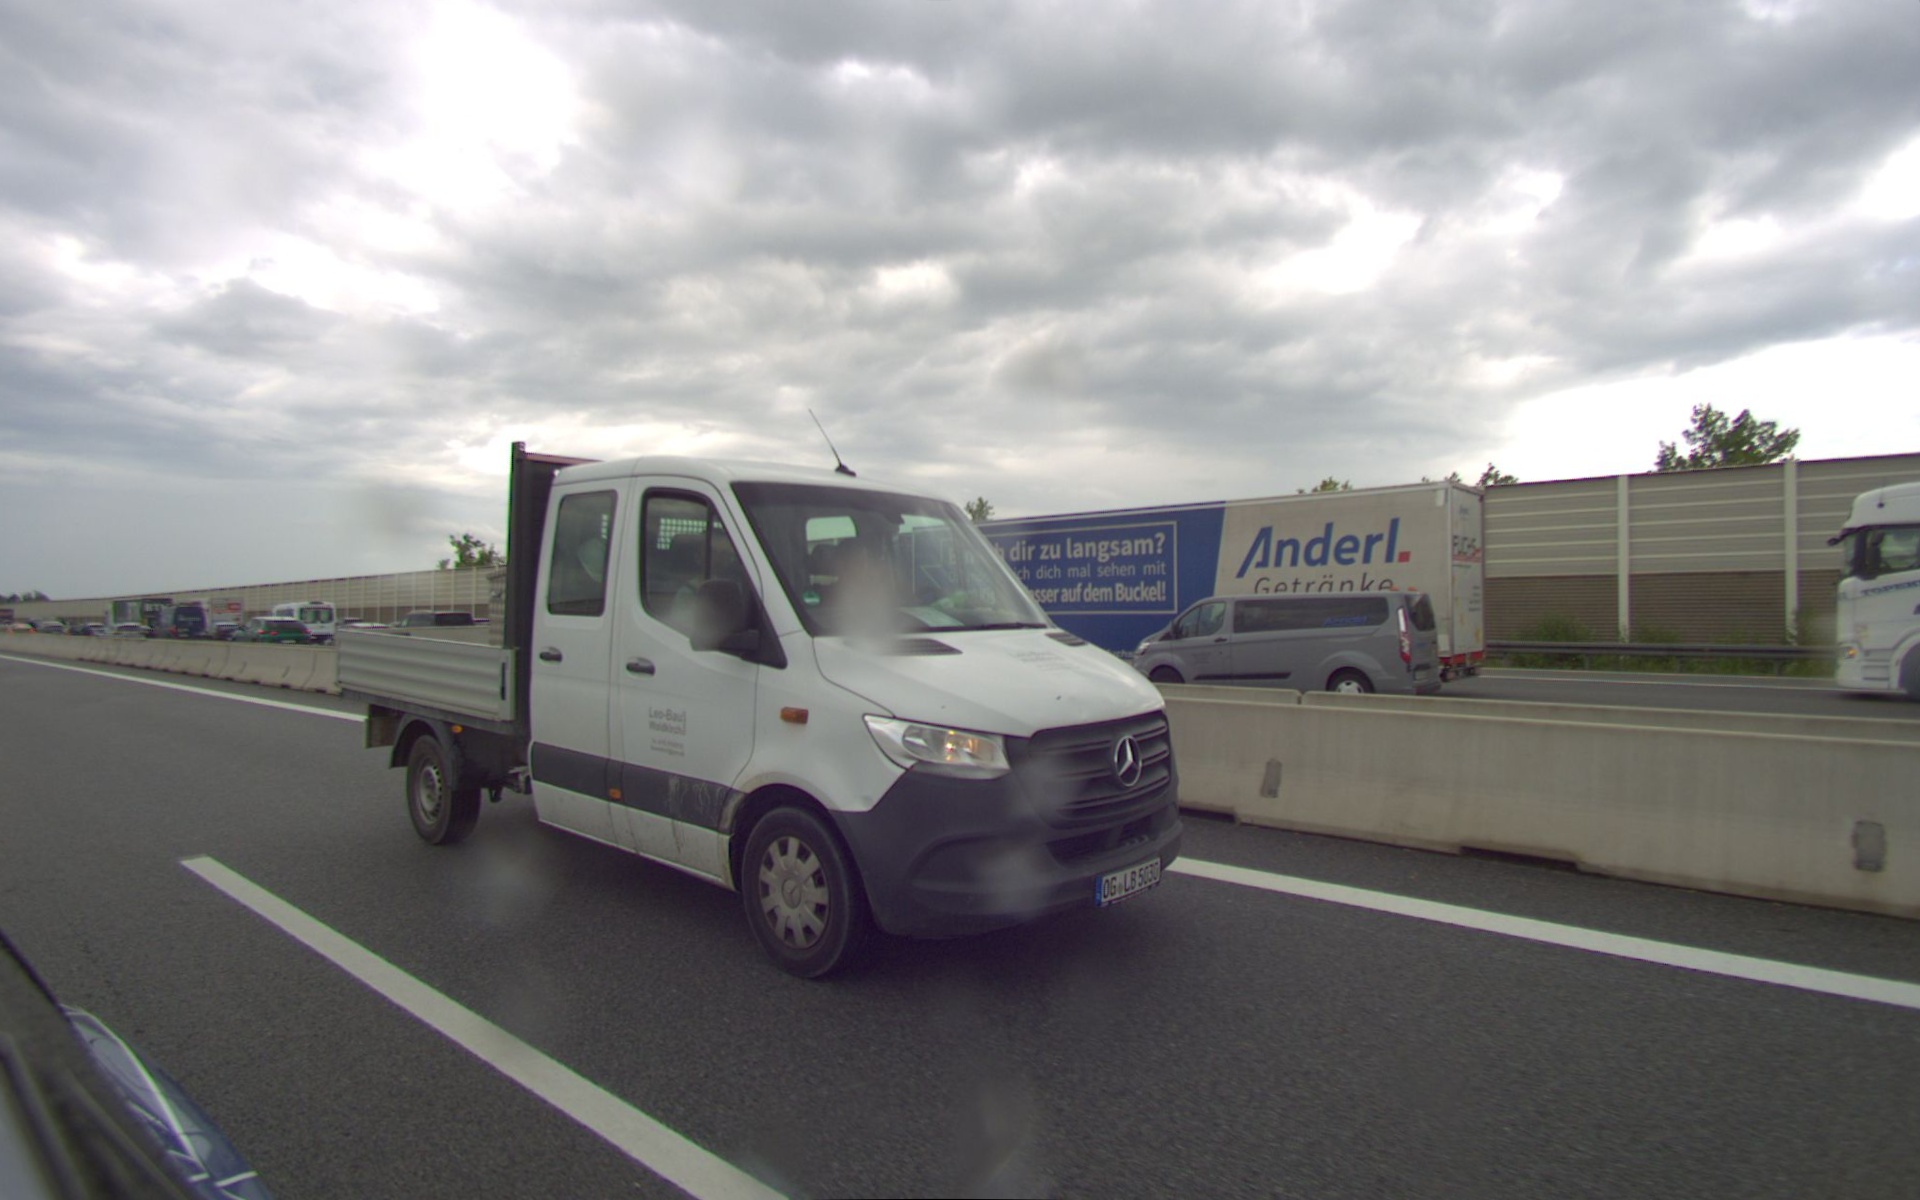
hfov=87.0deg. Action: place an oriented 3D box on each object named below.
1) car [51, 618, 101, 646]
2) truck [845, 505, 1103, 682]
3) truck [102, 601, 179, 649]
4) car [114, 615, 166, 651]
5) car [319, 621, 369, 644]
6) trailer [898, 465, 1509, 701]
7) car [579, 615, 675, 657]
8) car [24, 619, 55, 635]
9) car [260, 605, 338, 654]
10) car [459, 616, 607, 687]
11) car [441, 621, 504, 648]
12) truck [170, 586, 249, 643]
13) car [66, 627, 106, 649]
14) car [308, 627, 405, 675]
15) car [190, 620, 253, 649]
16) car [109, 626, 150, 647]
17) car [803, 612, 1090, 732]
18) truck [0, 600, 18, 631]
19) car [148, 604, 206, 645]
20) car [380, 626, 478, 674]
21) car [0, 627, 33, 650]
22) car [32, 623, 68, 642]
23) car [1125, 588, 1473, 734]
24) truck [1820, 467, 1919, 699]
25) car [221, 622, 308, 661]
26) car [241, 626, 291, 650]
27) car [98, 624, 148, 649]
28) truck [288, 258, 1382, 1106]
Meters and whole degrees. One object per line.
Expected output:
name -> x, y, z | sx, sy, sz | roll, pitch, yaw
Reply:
car -> -63.601, 2.258, 72.793 | 4.928, 1.950, 1.922 | -1, -1, 40
truck -> 0.242, -0.091, 27.747 | 6.689, 4.277, 3.039 | -1, -2, 41
truck -> -90.299, 2.736, 111.264 | 17.216, 4.894, 3.404 | -1, -1, 40
car -> -64.136, 2.567, 79.133 | 4.927, 2.770, 2.106 | -1, -1, 39
car -> -42.371, 2.192, 69.541 | 4.358, 1.516, 1.554 | -1, -1, 39
trailer -> 4.646, -0.173, 23.924 | 14.310, 4.192, 3.026 | -1, -1, 42
car -> -15.319, 1.617, 46.426 | 4.973, 1.832, 1.789 | -1, -1, 39
car -> -112.268, 3.287, 123.397 | 4.928, 1.950, 2.094 | -1, -1, 40
car -> -35.193, 1.546, 53.834 | 5.143, 2.492, 2.006 | -1, -1, 39
car -> -12.601, 1.428, 29.670 | 5.424, 1.905, 1.899 | -1, -1, 42
car -> -28.121, 1.958, 58.301 | 4.358, 1.516, 1.554 | -1, -1, 39
truck -> -69.028, 1.377, 92.931 | 11.689, 4.894, 3.184 | -1, -1, 40
car -> -78.925, 3.428, 91.377 | 4.928, 1.950, 1.922 | -1, -1, 40
car -> -22.392, 1.846, 37.519 | 4.205, 1.644, 1.794 | -1, -1, 40
car -> -45.934, 2.090, 62.922 | 4.930, 1.720, 2.105 | -1, -1, 41
car -> -78.895, 3.463, 96.113 | 4.928, 1.950, 2.094 | -1, -1, 40
car -> -0.401, 1.196, 18.591 | 5.430, 1.912, 1.913 | -1, -1, 42
truck -> -164.638, 2.762, 172.419 | 17.211, 5.097, 3.668 | -1, -1, 39
car -> -54.390, 1.699, 70.254 | 4.927, 2.770, 2.106 | -1, -1, 39
car -> -22.628, 2.092, 43.034 | 4.676, 1.912, 2.006 | -1, -1, 39
car -> -83.146, 3.329, 88.900 | 4.928, 1.950, 1.922 | -1, -1, 40
car -> -93.345, 3.320, 103.803 | 4.928, 1.950, 2.094 | -1, -1, 40
car -> 5.754, 0.965, 17.731 | 5.430, 2.175, 2.039 | -1, -1, 42
truck -> 20.099, -0.347, 15.494 | 10.495, 3.928, 2.658 | -1, -1, 41
car -> -30.736, 1.792, 44.656 | 4.690, 1.644, 1.901 | -1, -1, 39
car -> -57.217, 3.090, 83.378 | 4.927, 1.882, 2.106 | -1, -1, 39
car -> -53.514, 2.306, 64.692 | 4.358, 1.516, 1.621 | -1, -1, 39
truck -> -1.512, 0.286, 6.109 | 7.141, 2.458, 2.284 | -1, -1, 40
